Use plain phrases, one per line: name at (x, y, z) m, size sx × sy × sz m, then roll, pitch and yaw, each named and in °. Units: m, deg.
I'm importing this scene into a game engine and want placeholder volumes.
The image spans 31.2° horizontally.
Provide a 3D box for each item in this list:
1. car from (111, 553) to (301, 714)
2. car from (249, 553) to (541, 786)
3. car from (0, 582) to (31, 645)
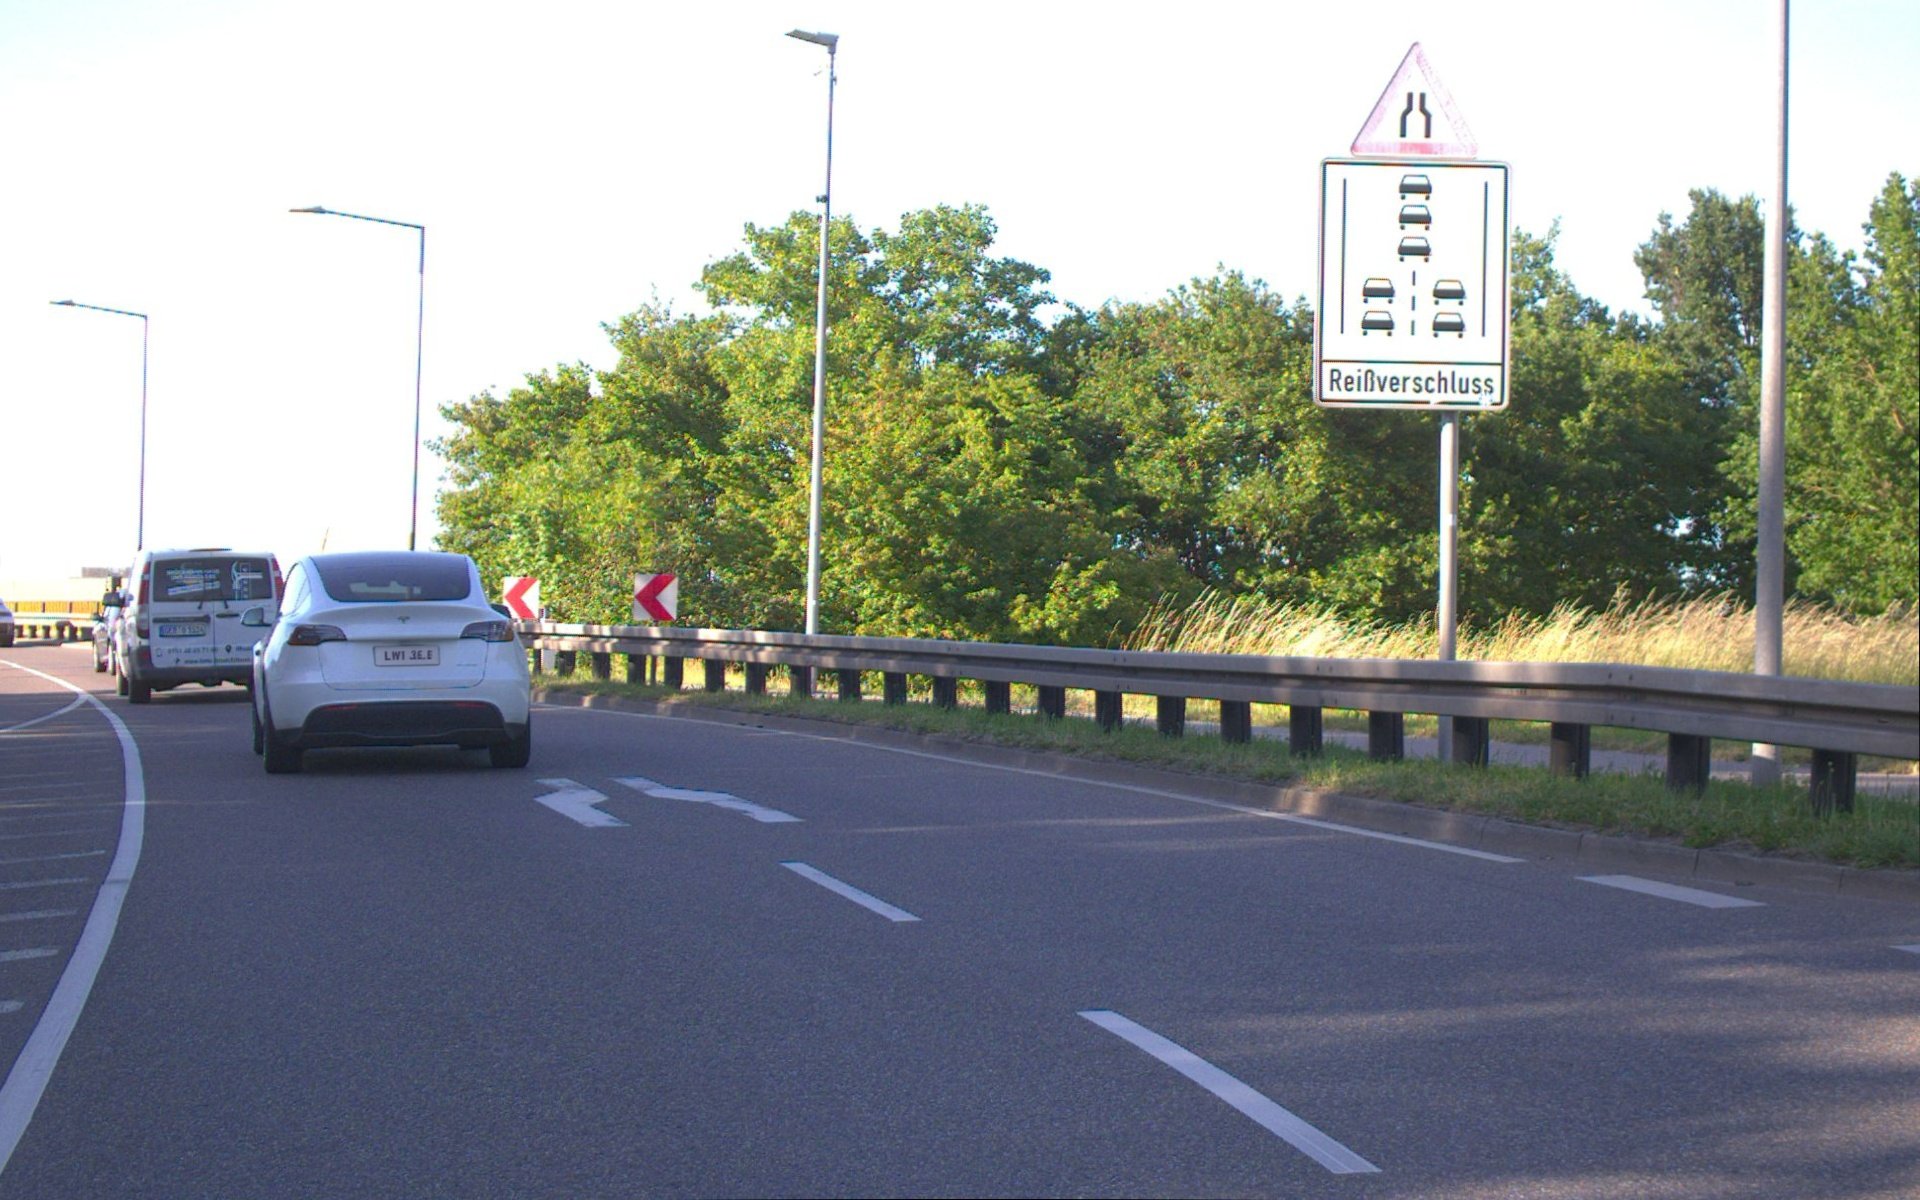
car at (-9.375, 0.400, 42.522) m, size 1.993 × 1.873 × 4.250 m, roll 1°, pitch 0°, yaw -16°
car at (-4.405, 0.503, 26.340) m, size 1.993 × 1.634 × 4.129 m, roll 1°, pitch 0°, yaw -12°
car at (-23.858, 0.306, 82.140) m, size 1.969 × 1.469 × 4.154 m, roll 0°, pitch 0°, yaw -33°
